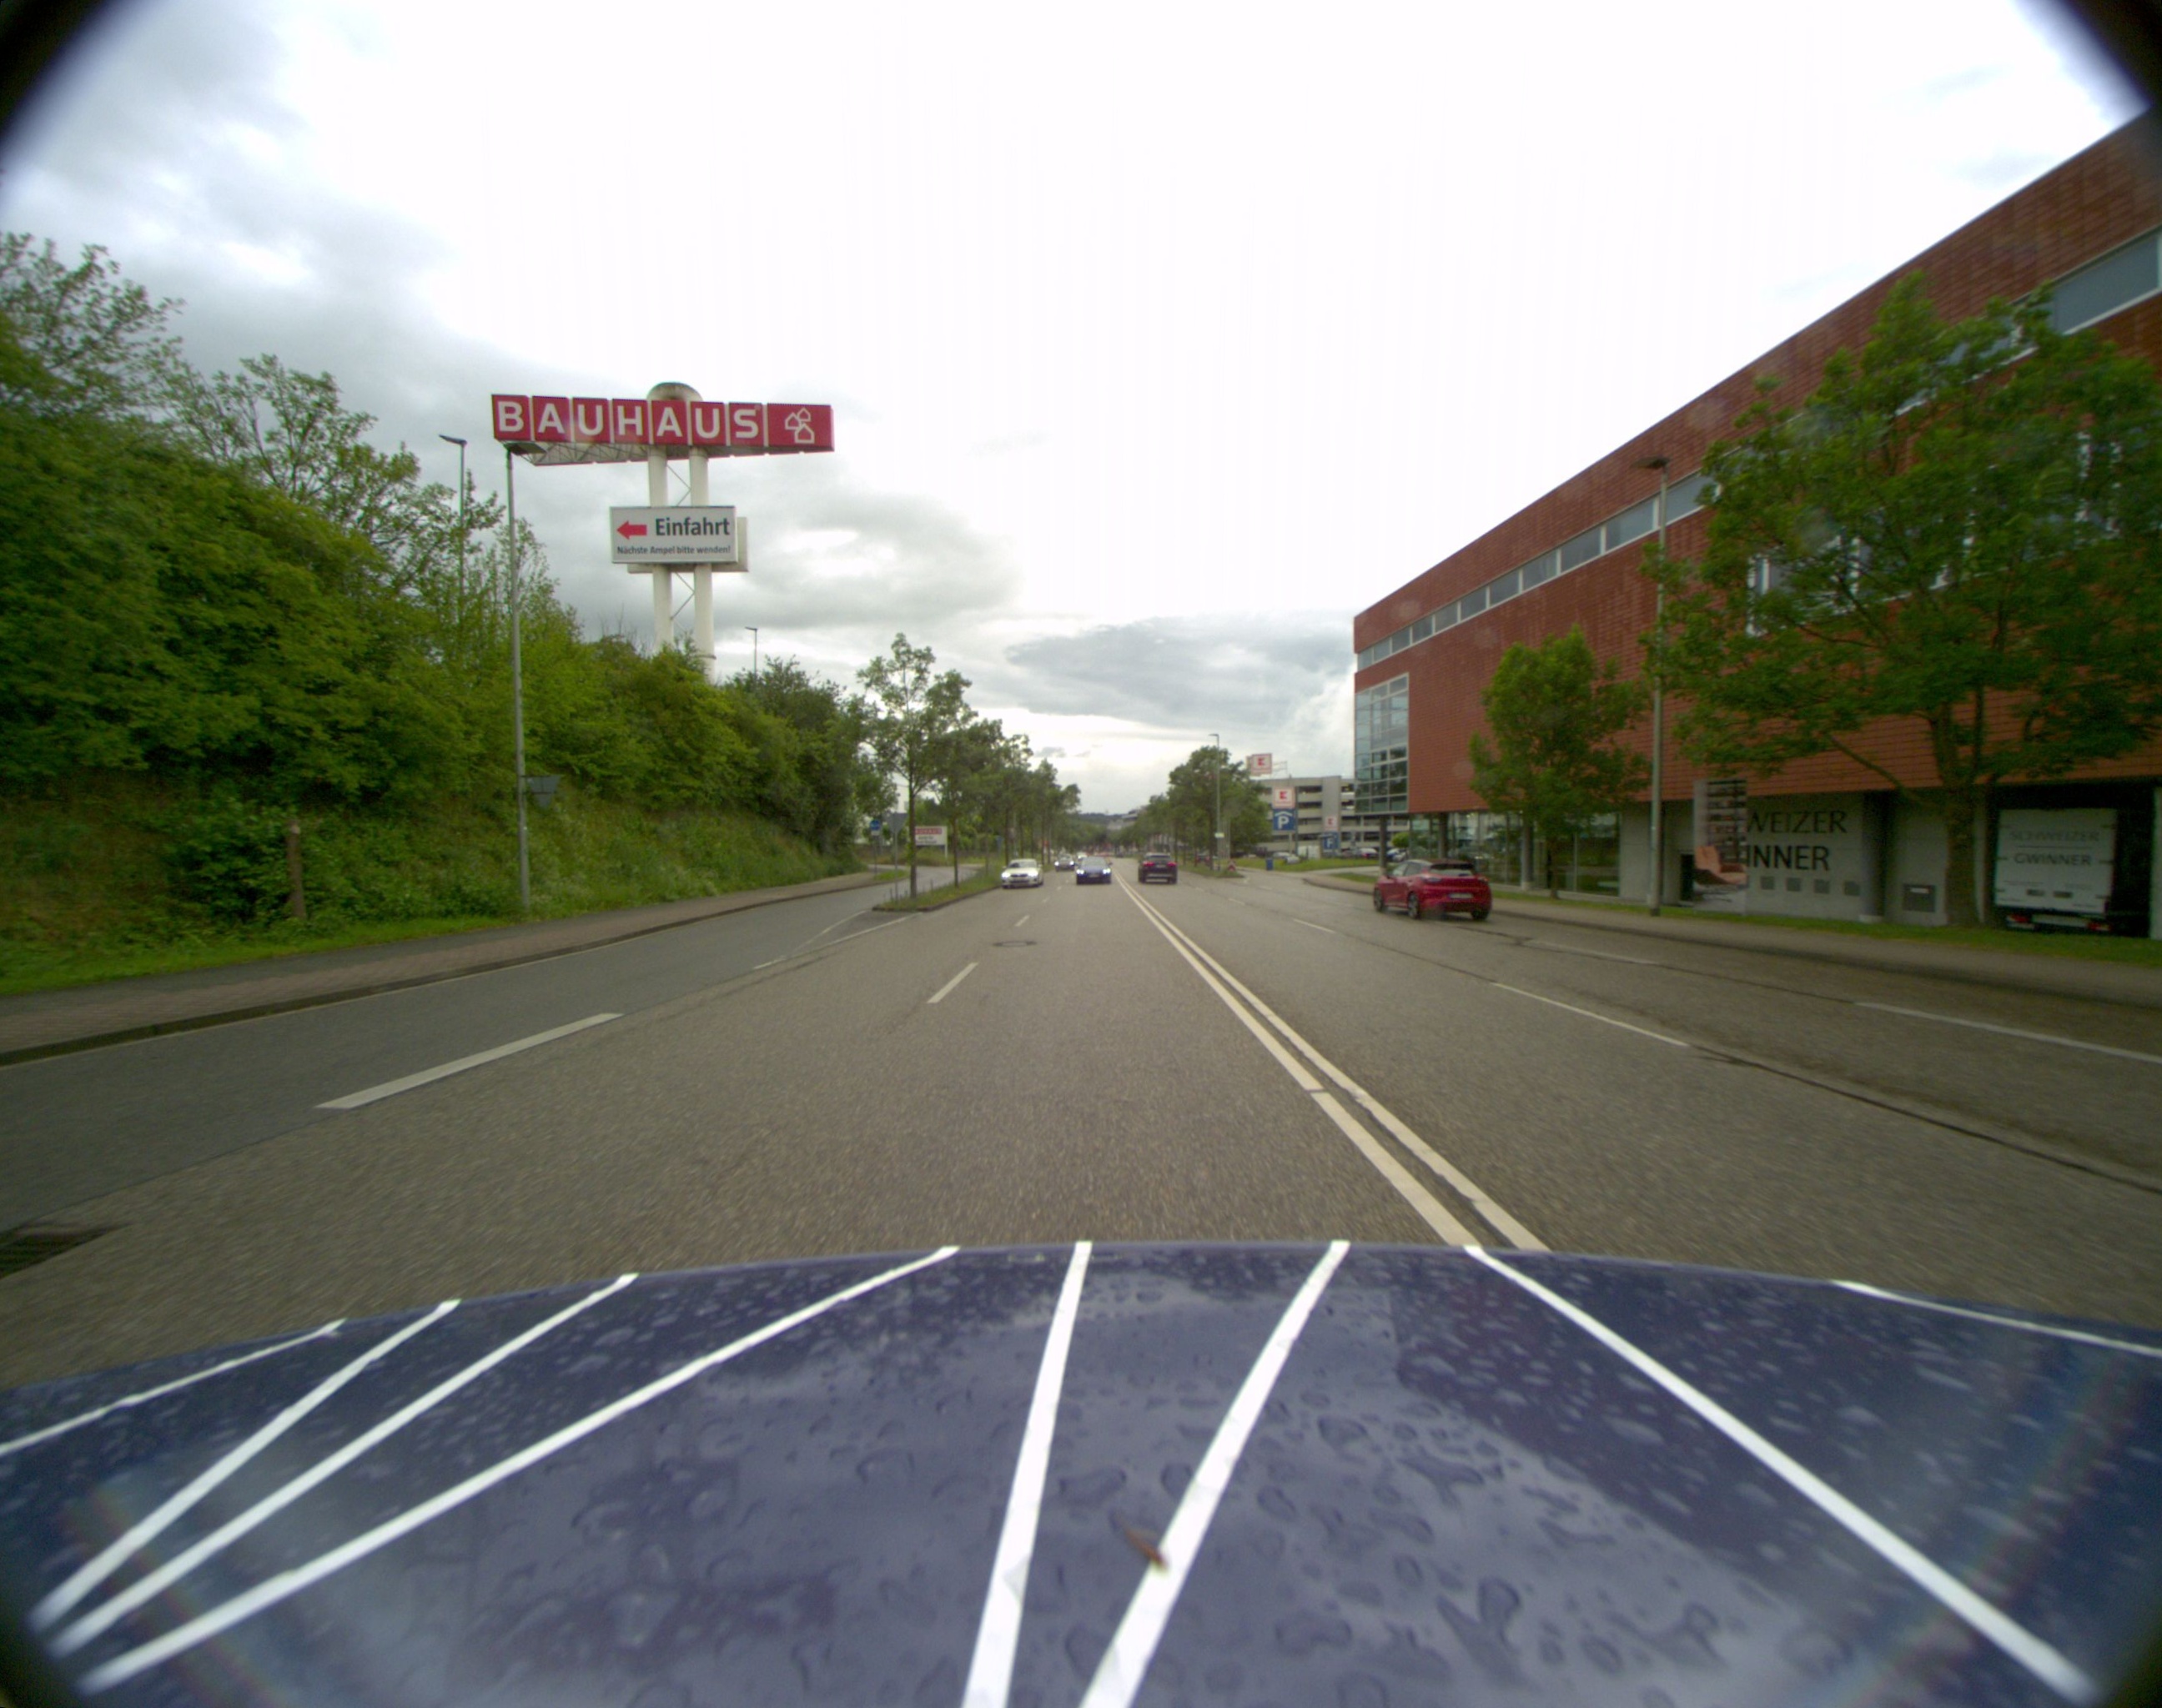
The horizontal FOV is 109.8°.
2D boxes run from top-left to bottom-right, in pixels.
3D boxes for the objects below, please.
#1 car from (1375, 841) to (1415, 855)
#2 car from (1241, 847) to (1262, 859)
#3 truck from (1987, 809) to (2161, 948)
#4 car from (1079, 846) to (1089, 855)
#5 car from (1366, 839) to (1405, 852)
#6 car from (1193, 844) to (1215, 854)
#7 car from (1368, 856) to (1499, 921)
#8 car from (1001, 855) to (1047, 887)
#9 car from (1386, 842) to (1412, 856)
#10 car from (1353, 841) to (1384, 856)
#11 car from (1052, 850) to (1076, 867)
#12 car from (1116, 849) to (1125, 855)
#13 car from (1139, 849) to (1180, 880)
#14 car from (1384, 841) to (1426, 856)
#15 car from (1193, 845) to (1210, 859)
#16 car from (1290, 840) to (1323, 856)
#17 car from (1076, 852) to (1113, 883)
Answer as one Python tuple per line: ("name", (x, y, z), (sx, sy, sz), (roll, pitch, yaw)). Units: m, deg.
("car", (37.523, -0.727, 90.794), (4.060, 1.608, 1.834), (-1, 1, 1))
("car", (23.230, -0.132, 103.721), (1.833, 1.608, 4.062), (-1, 1, -2))
("truck", (26.880, 0.540, 19.108), (6.153, 3.289, 2.022), (0, 2, -5))
("car", (0.559, -0.699, 153.393), (1.853, 1.565, 3.998), (-2, 2, -2))
("car", (37.372, -1.055, 93.439), (4.060, 1.608, 1.834), (-1, 1, 1))
("car", (22.459, -0.917, 138.449), (4.008, 1.839, 1.845), (-1, 0, -44))
("car", (9.087, 0.814, 19.972), (1.680, 1.498, 4.217), (0, 0, 3))
("car", (-2.882, 0.852, 39.515), (1.863, 1.473, 4.000), (-2, 1, 3))
("car", (33.110, -0.564, 79.288), (1.439, 1.414, 3.497), (-1, 1, 4))
("car", (25.705, -0.500, 68.044), (1.509, 1.276, 3.449), (-2, 1, 1))
("car", (-1.612, 0.400, 74.724), (2.114, 1.610, 4.840), (-2, 1, 1))
("car", (10.576, -0.618, 202.346), (2.114, 1.610, 4.840), (1, 1, 1))
("car", (4.202, 0.540, 41.400), (1.863, 1.568, 4.320), (1, 0, 1))
("car", (37.675, -0.650, 88.360), (4.060, 1.608, 1.834), (-1, 1, 1))
("car", (14.838, -0.254, 93.503), (1.832, 1.608, 4.001), (-2, 1, 6))
("car", (24.830, -0.660, 83.827), (1.834, 1.608, 4.436), (-1, 1, -6))
("car", (0.702, 0.681, 40.568), (1.827, 1.473, 4.840), (-2, 1, 1))
